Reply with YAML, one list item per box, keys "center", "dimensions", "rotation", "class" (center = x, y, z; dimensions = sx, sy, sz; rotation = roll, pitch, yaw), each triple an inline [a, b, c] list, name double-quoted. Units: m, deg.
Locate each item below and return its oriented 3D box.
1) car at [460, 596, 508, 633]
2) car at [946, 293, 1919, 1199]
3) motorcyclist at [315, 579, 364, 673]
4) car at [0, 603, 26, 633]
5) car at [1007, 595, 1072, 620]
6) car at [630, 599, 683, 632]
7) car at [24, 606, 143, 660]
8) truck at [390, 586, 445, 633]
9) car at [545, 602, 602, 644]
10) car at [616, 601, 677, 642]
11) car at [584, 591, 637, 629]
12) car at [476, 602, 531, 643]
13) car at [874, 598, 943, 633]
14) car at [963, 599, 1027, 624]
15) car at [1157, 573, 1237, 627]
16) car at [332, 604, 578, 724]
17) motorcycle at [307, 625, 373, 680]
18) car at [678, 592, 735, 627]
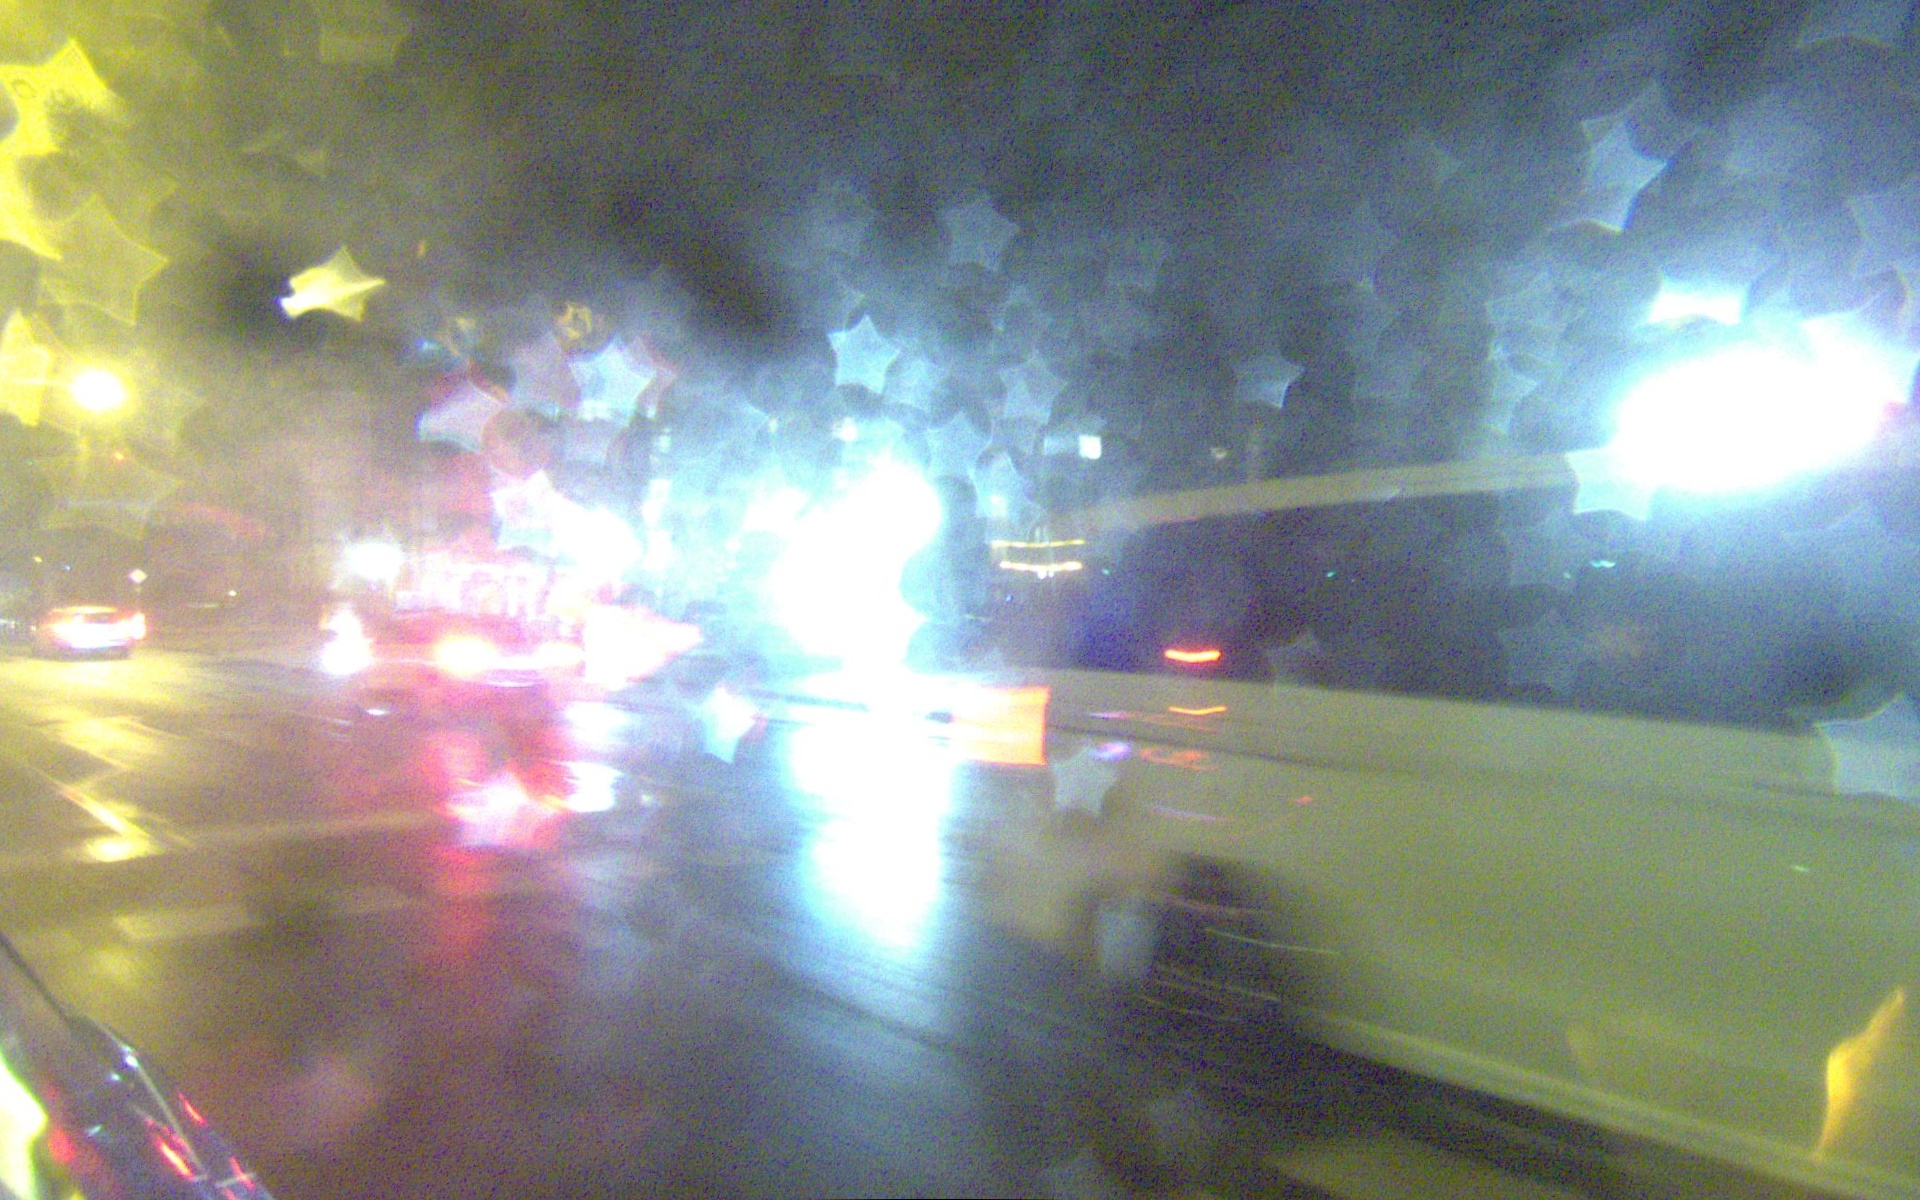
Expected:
- center: [-22.610, 0.661, 48.014]
  dimensions: [1.838, 1.625, 4.508]
  rotation: [-1, 0, -28]
  class: "car"
- center: [2.540, 0.418, 2.532]
  dimensions: [5.199, 1.968, 2.012]
  rotation: [-1, -1, 43]
  class: "car"
- center: [-13.701, 0.566, 22.359]
  dimensions: [0.982, 2.029, 0.685]
  rotation: [-1, -1, 43]
  class: "motorcyclist"
- center: [-54.115, 0.991, 57.247]
  dimensions: [4.381, 1.576, 1.580]
  rotation: [0, -3, 45]
  class: "car"
- center: [4.836, 0.441, 62.194]
  dimensions: [1.838, 1.454, 4.508]
  rotation: [-1, 0, -28]
  class: "car"
- center: [-15.781, 0.761, 52.494]
  dimensions: [1.838, 1.625, 4.508]
  rotation: [-1, 0, -28]
  class: "car"
- center: [-26.467, 0.970, 30.511]
  dimensions: [4.762, 1.511, 1.835]
  rotation: [-1, -1, 38]
  class: "car"
- center: [-25.117, 0.457, 46.884]
  dimensions: [2.093, 2.029, 5.279]
  rotation: [0, -1, -28]
  class: "truck"
- center: [-15.214, 0.848, 39.707]
  dimensions: [1.689, 1.531, 3.931]
  rotation: [-1, 0, -27]
  class: "car"
- center: [-12.623, 0.819, 40.589]
  dimensions: [1.689, 1.531, 3.931]
  rotation: [-1, 0, -27]
  class: "car"
- center: [-17.612, 0.460, 50.913]
  dimensions: [1.838, 1.808, 4.508]
  rotation: [0, 0, -28]
  class: "car"
- center: [-17.364, 0.800, 38.417]
  dimensions: [1.689, 1.442, 3.931]
  rotation: [-1, 0, -27]
  class: "car"
- center: [-2.376, 0.682, 46.113]
  dimensions: [1.689, 1.531, 3.931]
  rotation: [-1, 0, -27]
  class: "car"
- center: [2.071, 0.678, 60.942]
  dimensions: [1.838, 1.454, 4.508]
  rotation: [-1, 0, -28]
  class: "car"
- center: [12.518, -0.013, 53.674]
  dimensions: [1.689, 2.751, 4.369]
  rotation: [0, 0, -27]
  class: "car"
- center: [-7.454, 0.867, 14.783]
  dimensions: [4.104, 1.523, 1.629]
  rotation: [-1, -3, 39]
  class: "car"
- center: [-13.743, 1.138, 22.406]
  dimensions: [2.175, 1.147, 0.693]
  rotation: [-1, -1, 43]
  class: "motorcycle"
- center: [-13.343, 0.483, 53.093]
  dimensions: [1.838, 1.773, 4.508]
  rotation: [0, 0, -28]
  class: "car"
